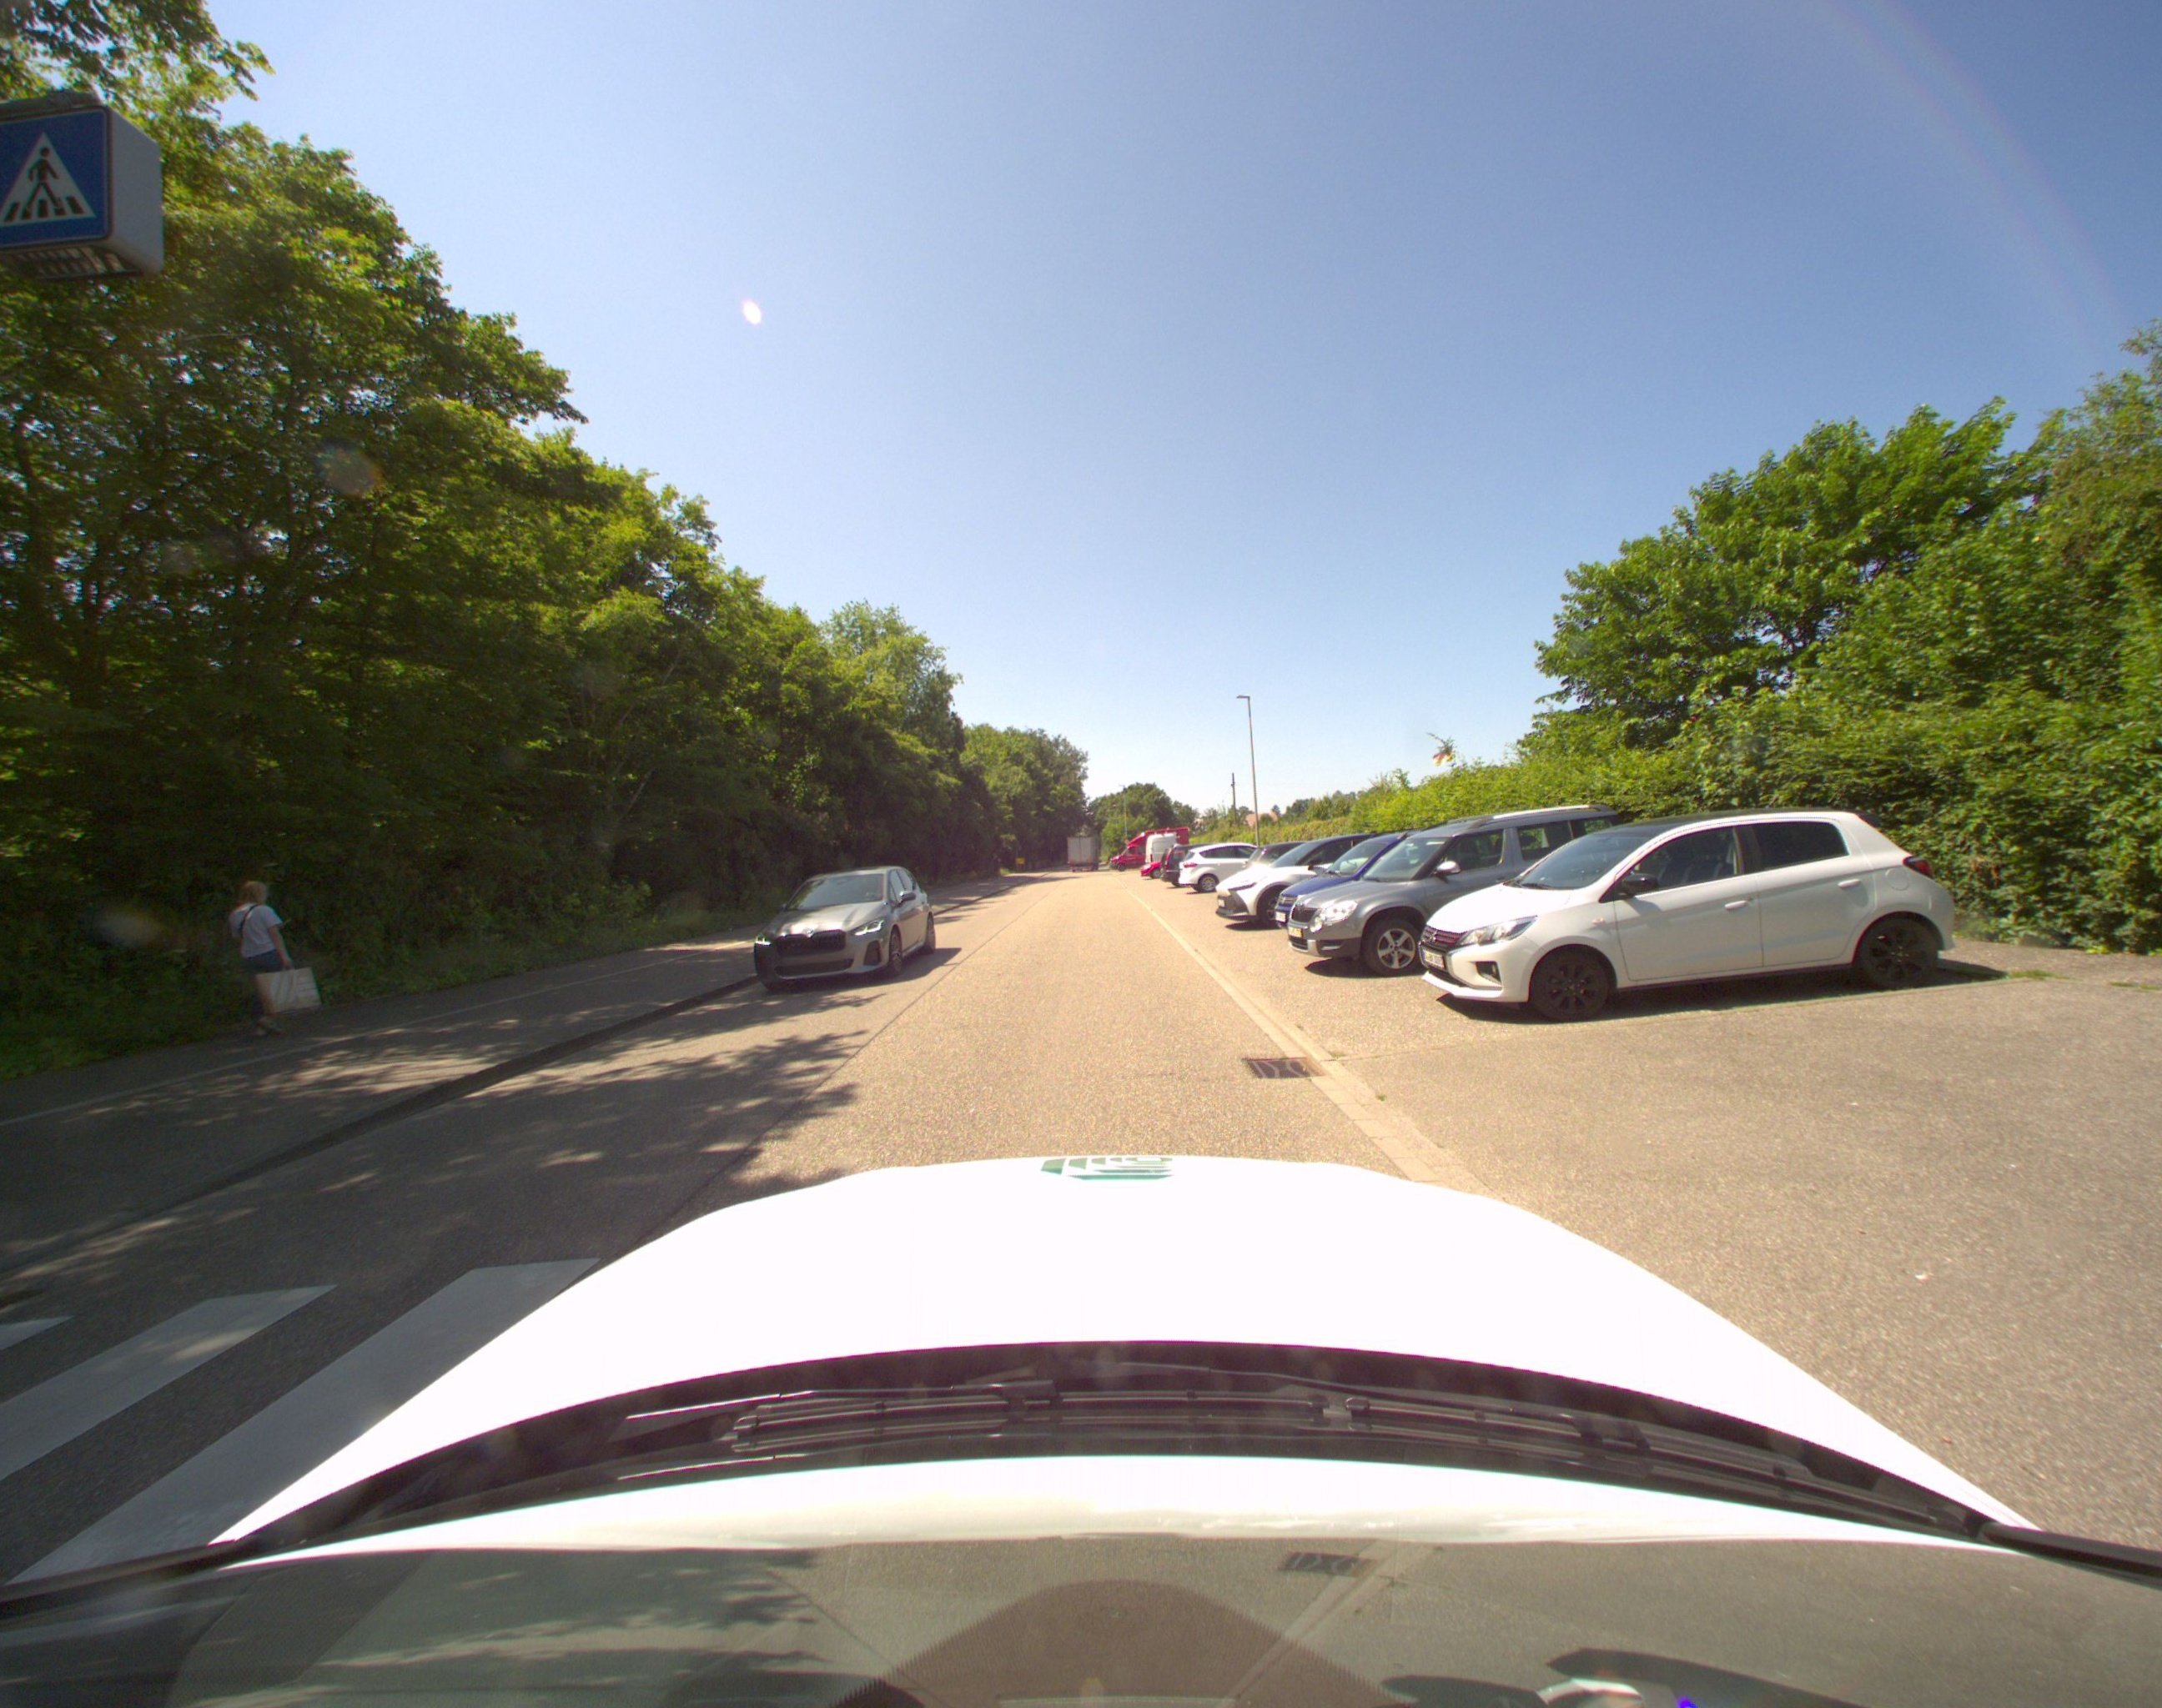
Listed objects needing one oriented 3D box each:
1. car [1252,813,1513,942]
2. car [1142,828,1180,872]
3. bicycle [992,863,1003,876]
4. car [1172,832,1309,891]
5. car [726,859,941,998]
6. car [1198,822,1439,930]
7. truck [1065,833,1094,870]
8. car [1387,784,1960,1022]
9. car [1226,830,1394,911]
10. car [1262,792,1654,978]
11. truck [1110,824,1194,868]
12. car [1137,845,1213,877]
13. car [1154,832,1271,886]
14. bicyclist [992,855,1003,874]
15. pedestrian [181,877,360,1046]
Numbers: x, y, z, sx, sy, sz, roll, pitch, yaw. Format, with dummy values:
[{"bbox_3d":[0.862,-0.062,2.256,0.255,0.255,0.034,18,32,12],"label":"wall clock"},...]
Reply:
[{"bbox_3d":[4.684,0.340,12.912,3.447,1.527,1.537,-7,0,-5],"label":"car"},{"bbox_3d":[5.621,-0.301,57.782,1.947,2.733,7.170,-5,0,2],"label":"car"},{"bbox_3d":[-6.955,1.316,67.947,0.558,1.027,1.841,-3,0,5],"label":"bicycle"},{"bbox_3d":[5.460,0.242,28.233,4.265,1.578,1.764,-5,0,-2],"label":"car"},{"bbox_3d":[-3.499,0.956,12.445,1.886,1.532,4.195,-7,0,-1],"label":"car"},{"bbox_3d":[4.495,0.387,15.778,3.957,1.522,1.861,-7,0,-6],"label":"car"},{"bbox_3d":[-0.035,-0.285,91.233,2.724,3.745,13.248,-2,0,1],"label":"truck"},{"bbox_3d":[4.861,0.385,7.114,3.674,1.450,1.611,-7,0,3],"label":"car"},{"bbox_3d":[5.185,0.356,18.780,3.373,1.503,1.589,-5,0,3],"label":"car"},{"bbox_3d":[4.476,0.326,9.983,3.955,1.640,1.661,-7,0,-6],"label":"car"},{"bbox_3d":[6.243,-0.712,71.900,7.106,3.440,2.332,-3,1,3],"label":"truck"},{"bbox_3d":[5.411,0.378,47.332,4.044,1.434,1.834,-5,0,-3],"label":"car"},{"bbox_3d":[5.494,0.224,34.486,4.445,1.804,1.950,-5,-1,-4],"label":"car"},{"bbox_3d":[-6.981,0.883,67.979,0.645,1.565,0.838,-3,0,4],"label":"bicyclist"},{"bbox_3d":[-8.448,1.080,8.536,0.929,1.612,0.885,-2,0,-1],"label":"pedestrian"}]
